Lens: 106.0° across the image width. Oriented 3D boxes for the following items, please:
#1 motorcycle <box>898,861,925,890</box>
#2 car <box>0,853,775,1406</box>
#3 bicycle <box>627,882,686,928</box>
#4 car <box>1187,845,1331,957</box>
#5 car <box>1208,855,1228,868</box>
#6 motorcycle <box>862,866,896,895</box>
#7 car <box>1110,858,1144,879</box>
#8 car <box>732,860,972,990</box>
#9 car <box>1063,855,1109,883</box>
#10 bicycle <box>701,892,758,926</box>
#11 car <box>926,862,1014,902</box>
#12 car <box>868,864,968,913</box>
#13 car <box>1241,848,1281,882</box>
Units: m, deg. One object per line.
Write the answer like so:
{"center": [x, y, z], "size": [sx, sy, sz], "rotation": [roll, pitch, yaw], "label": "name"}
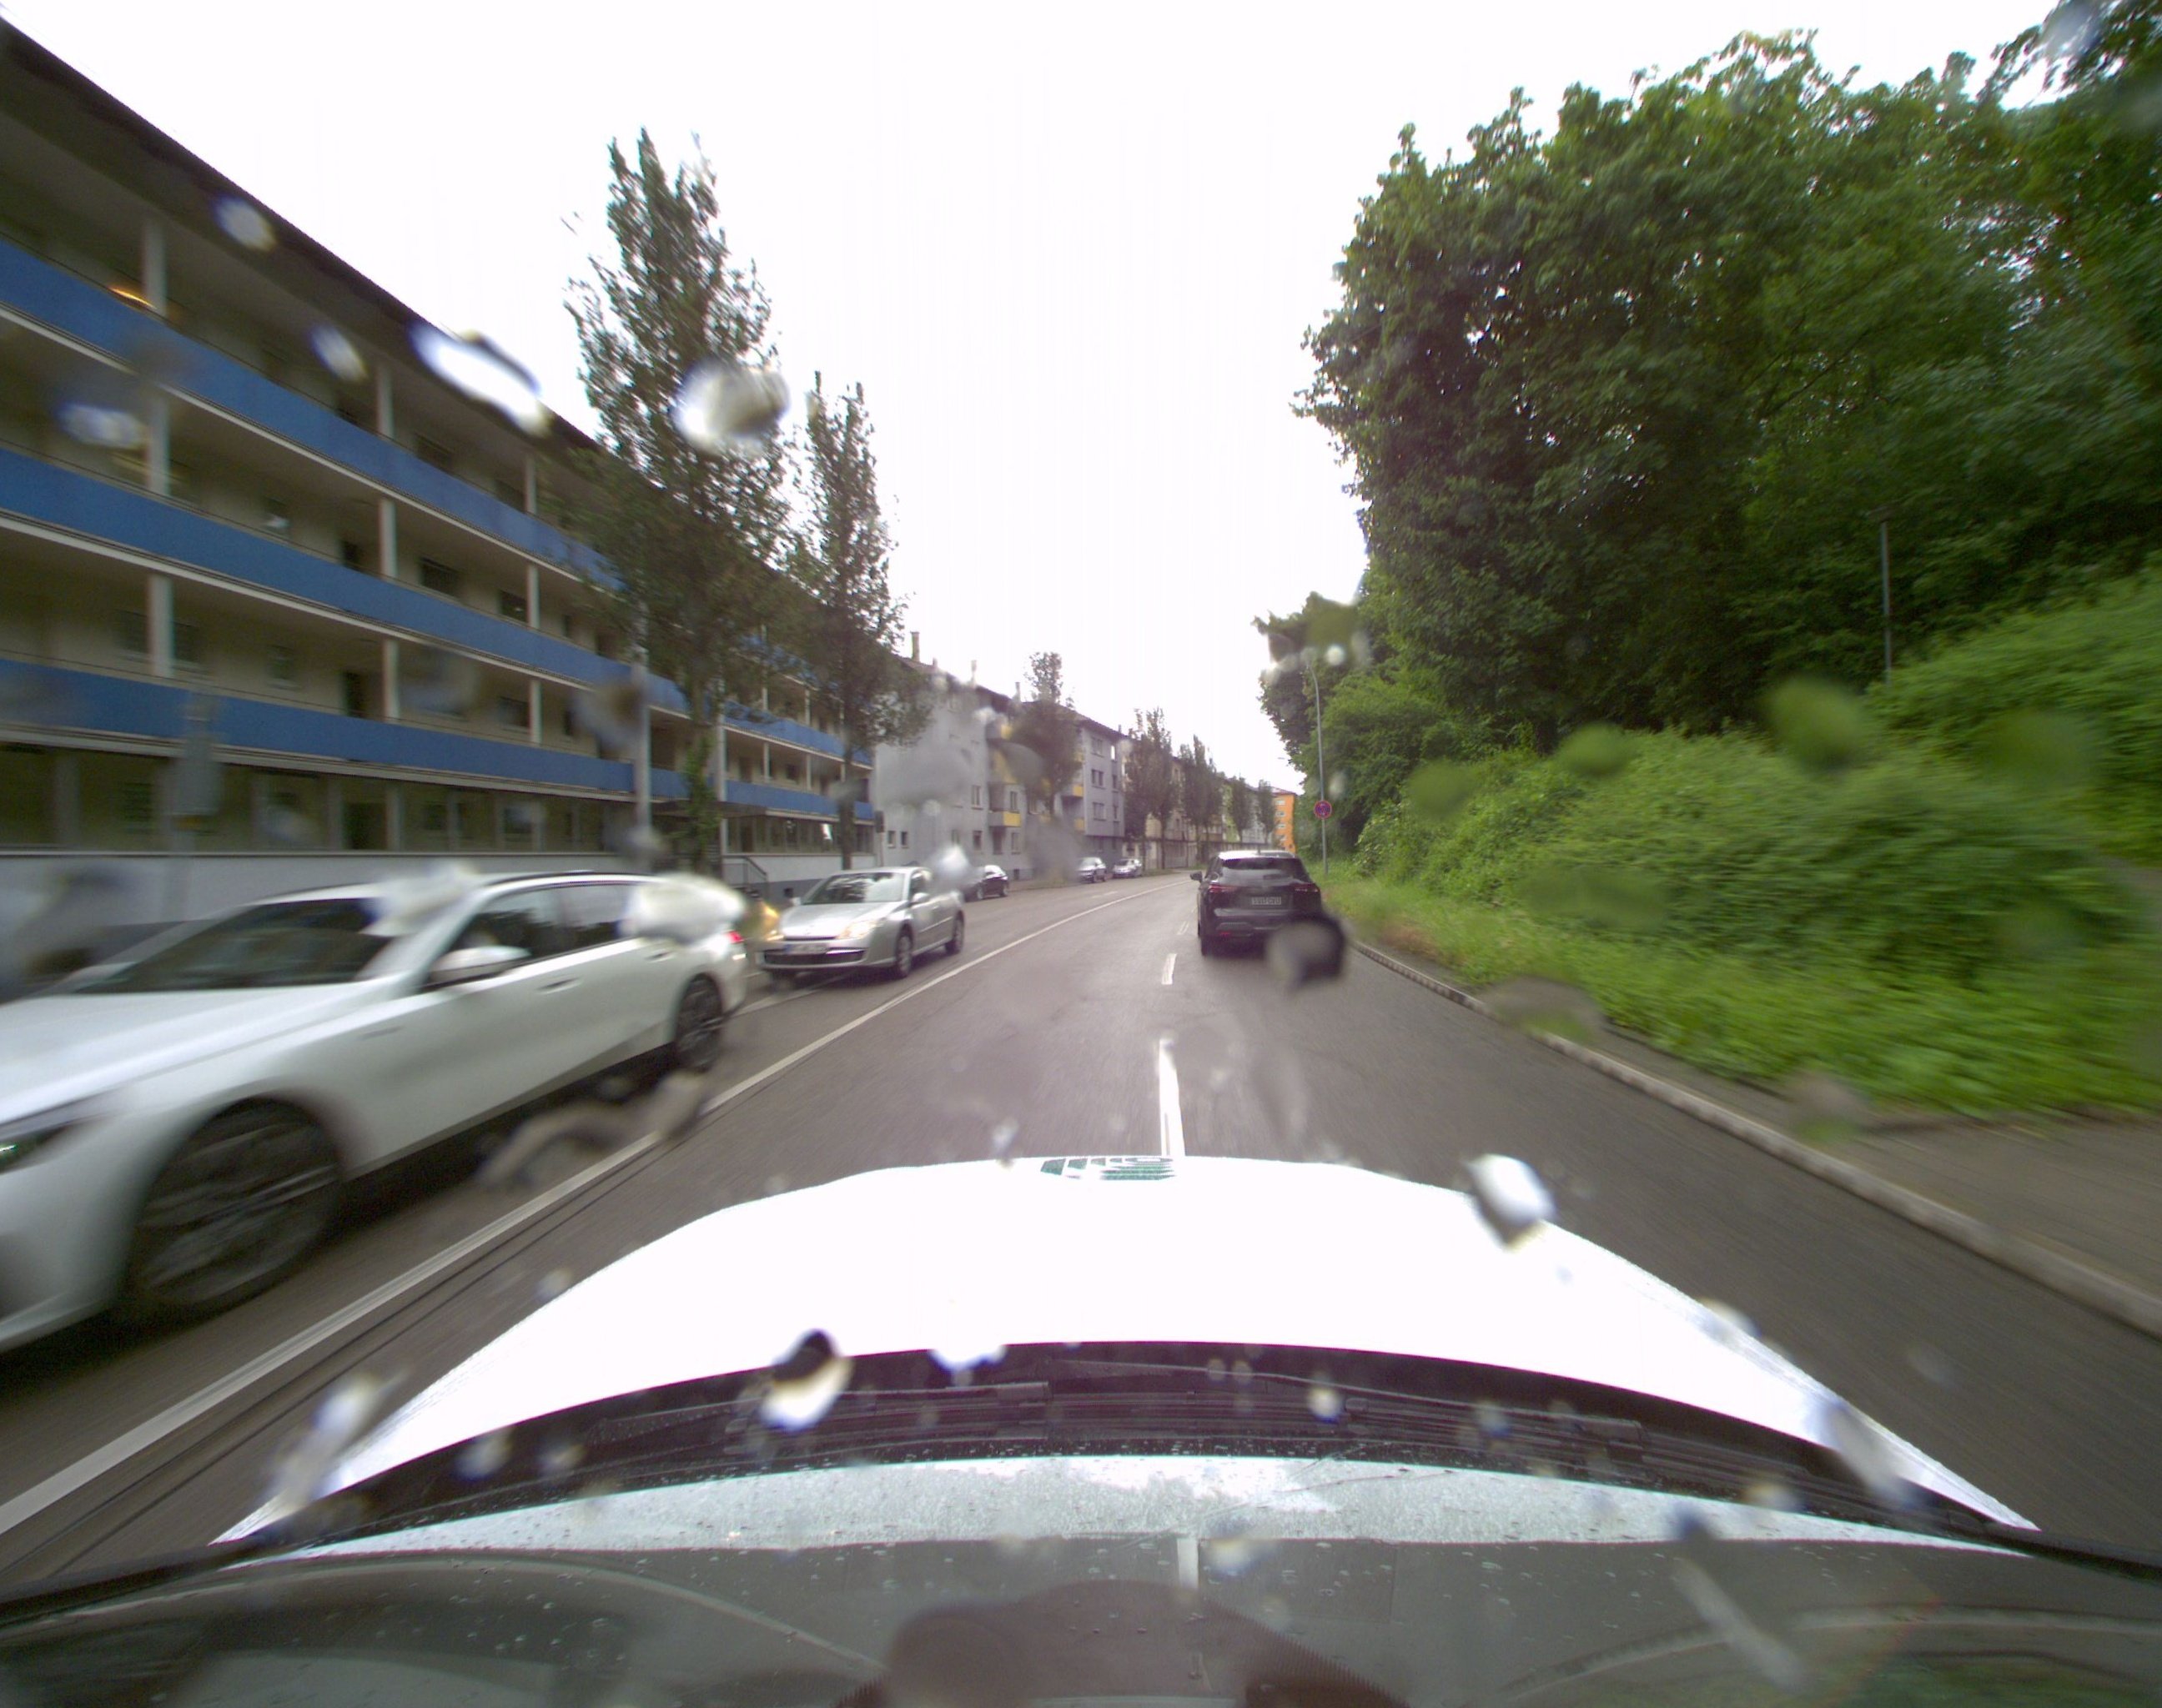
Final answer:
{"center": [-8.873, 1.102, 42.610], "size": [0.671, 1.414, 2.241], "rotation": [1, 0, 7], "label": "motorcycle"}
{"center": [-3.742, 0.809, 4.518], "size": [1.812, 1.516, 5.033], "rotation": [-3, 0, 4], "label": "car"}
{"center": [-10.601, 1.249, 20.396], "size": [0.610, 1.023, 1.732], "rotation": [-2, 0, -3], "label": "bicycle"}
{"center": [2.773, 0.661, 13.512], "size": [1.836, 1.582, 4.006], "rotation": [-1, 0, 5], "label": "car"}
{"center": [16.816, 0.891, 100.085], "size": [1.612, 1.387, 4.008], "rotation": [-3, -1, 20], "label": "car"}
{"center": [-9.406, 1.210, 38.026], "size": [0.671, 1.254, 2.242], "rotation": [0, 0, 9], "label": "motorcycle"}
{"center": [3.554, 1.059, 62.142], "size": [1.711, 1.453, 4.223], "rotation": [-3, -1, 16], "label": "car"}
{"center": [-2.981, 0.849, 11.756], "size": [1.744, 1.425, 4.544], "rotation": [-2, 0, 6], "label": "car"}
{"center": [0.398, 0.946, 51.545], "size": [1.751, 1.604, 4.552], "rotation": [-3, -1, 15], "label": "car"}
{"center": [-9.784, 1.520, 22.743], "size": [0.664, 0.825, 1.743], "rotation": [1, 0, 6], "label": "bicycle"}
{"center": [-4.476, 1.098, 33.569], "size": [1.808, 1.439, 4.911], "rotation": [-4, -1, 14], "label": "car"}
{"center": [-5.554, 1.141, 28.285], "size": [1.767, 1.403, 4.103], "rotation": [-4, -1, 13], "label": "car"}
{"center": [9.548, 0.578, 43.367], "size": [1.875, 1.711, 4.011], "rotation": [-1, 0, 10], "label": "car"}
